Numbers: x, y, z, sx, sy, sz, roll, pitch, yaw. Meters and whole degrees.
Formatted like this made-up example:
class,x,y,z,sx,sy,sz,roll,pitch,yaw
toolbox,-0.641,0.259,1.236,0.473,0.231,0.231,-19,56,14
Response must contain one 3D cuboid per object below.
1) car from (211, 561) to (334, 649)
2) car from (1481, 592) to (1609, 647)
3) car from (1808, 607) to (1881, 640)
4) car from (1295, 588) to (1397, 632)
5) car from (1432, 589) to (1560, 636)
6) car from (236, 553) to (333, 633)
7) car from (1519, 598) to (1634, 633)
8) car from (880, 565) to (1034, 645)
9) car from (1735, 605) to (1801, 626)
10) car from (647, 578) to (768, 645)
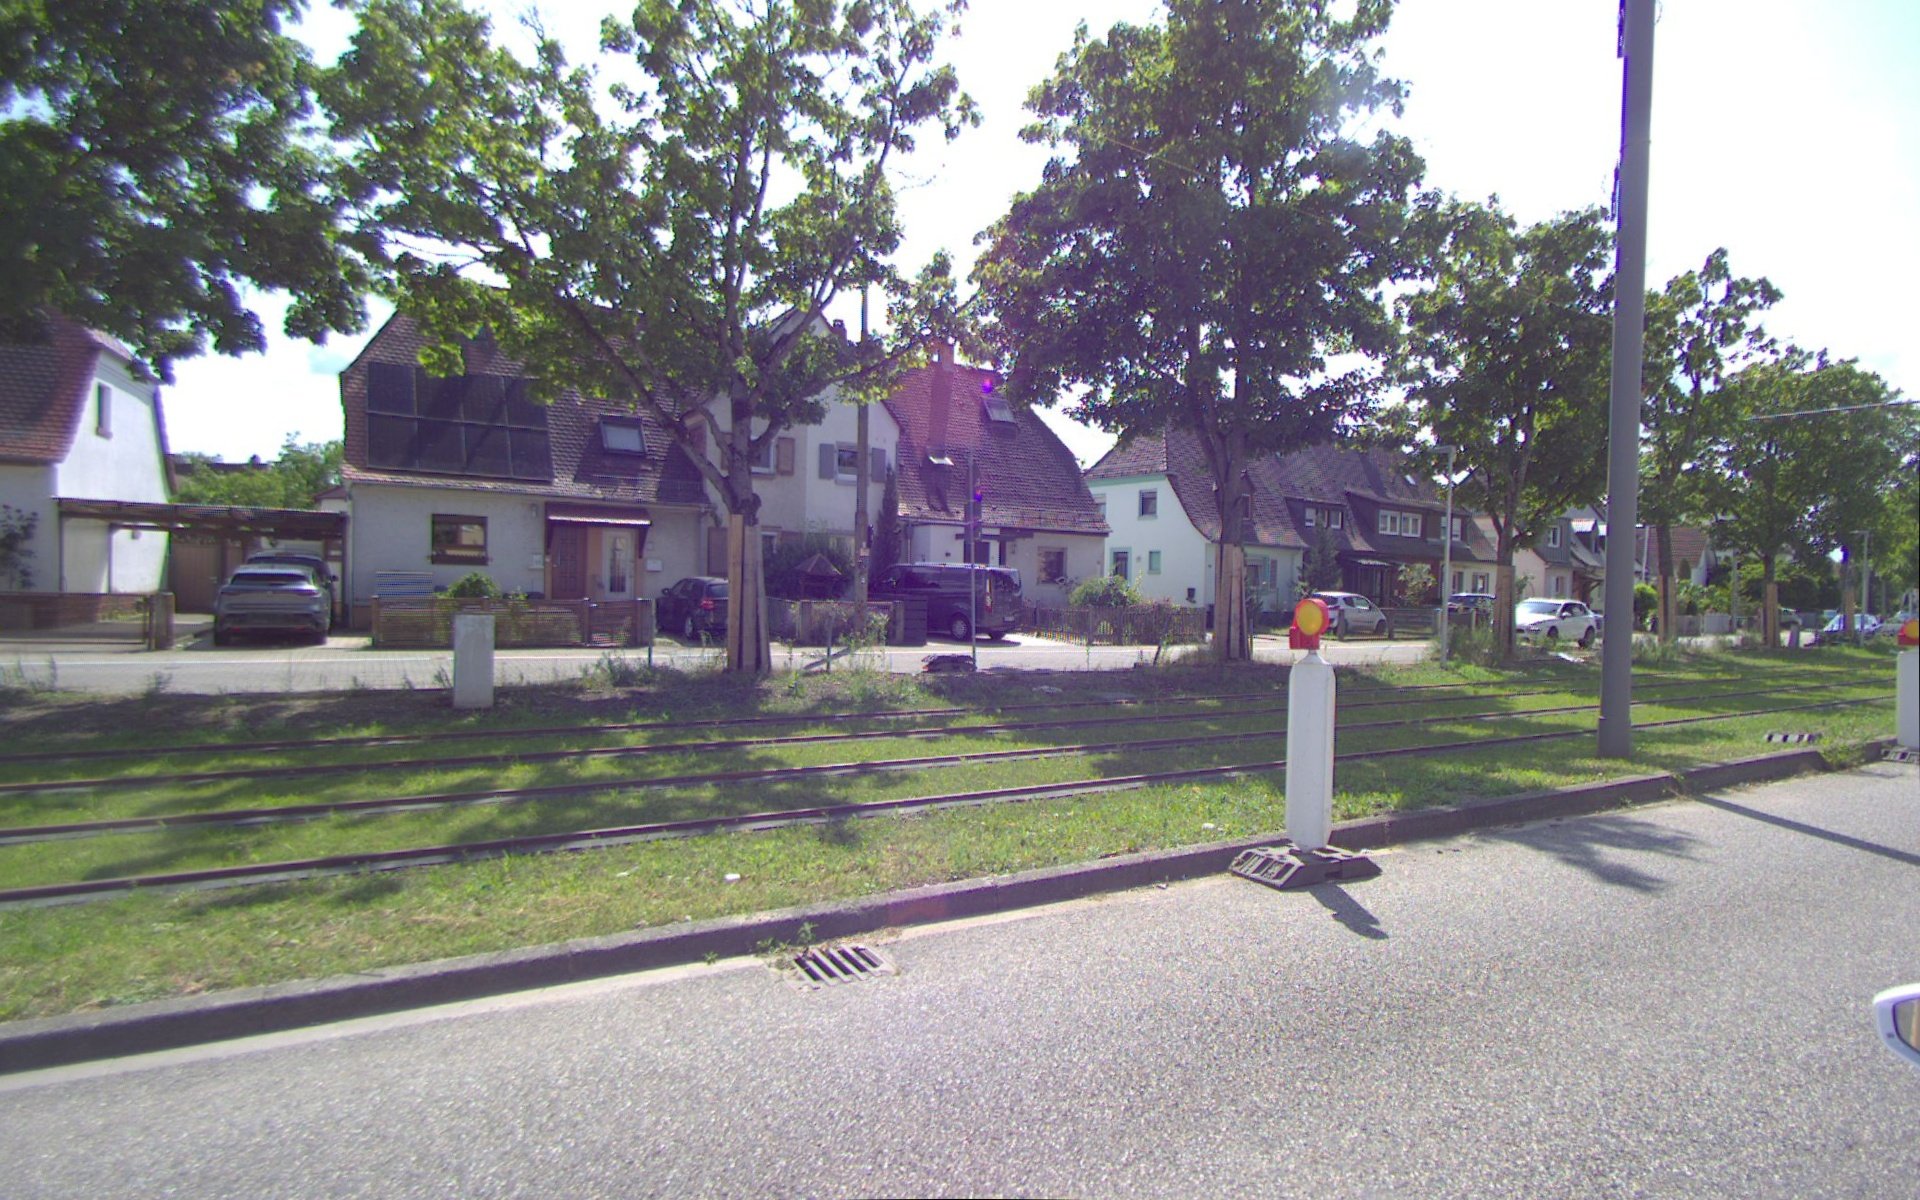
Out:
class,x,y,z,sx,sy,sz,roll,pitch,yaw
car,-13.671,0.038,20.133,1.853,1.551,3.964,1,2,-33
car,20.659,0.693,35.419,5.029,1.792,1.870,1,1,-34
car,41.637,1.109,47.246,4.772,1.425,1.804,1,1,-39
car,14.453,0.388,37.551,4.008,1.538,1.715,1,1,-38
car,23.283,0.492,43.758,2.047,1.861,4.435,1,1,-38
car,-16.182,-0.219,24.198,1.779,1.761,3.964,1,2,-33
car,30.099,0.723,49.152,1.909,1.544,4.435,1,1,-38
car,-0.113,0.087,27.829,3.835,1.922,1.935,4,2,38
car,64.601,1.237,80.352,3.945,1.592,1.783,1,1,44
car,-6.197,0.237,24.395,1.717,1.476,3.861,1,1,-33
